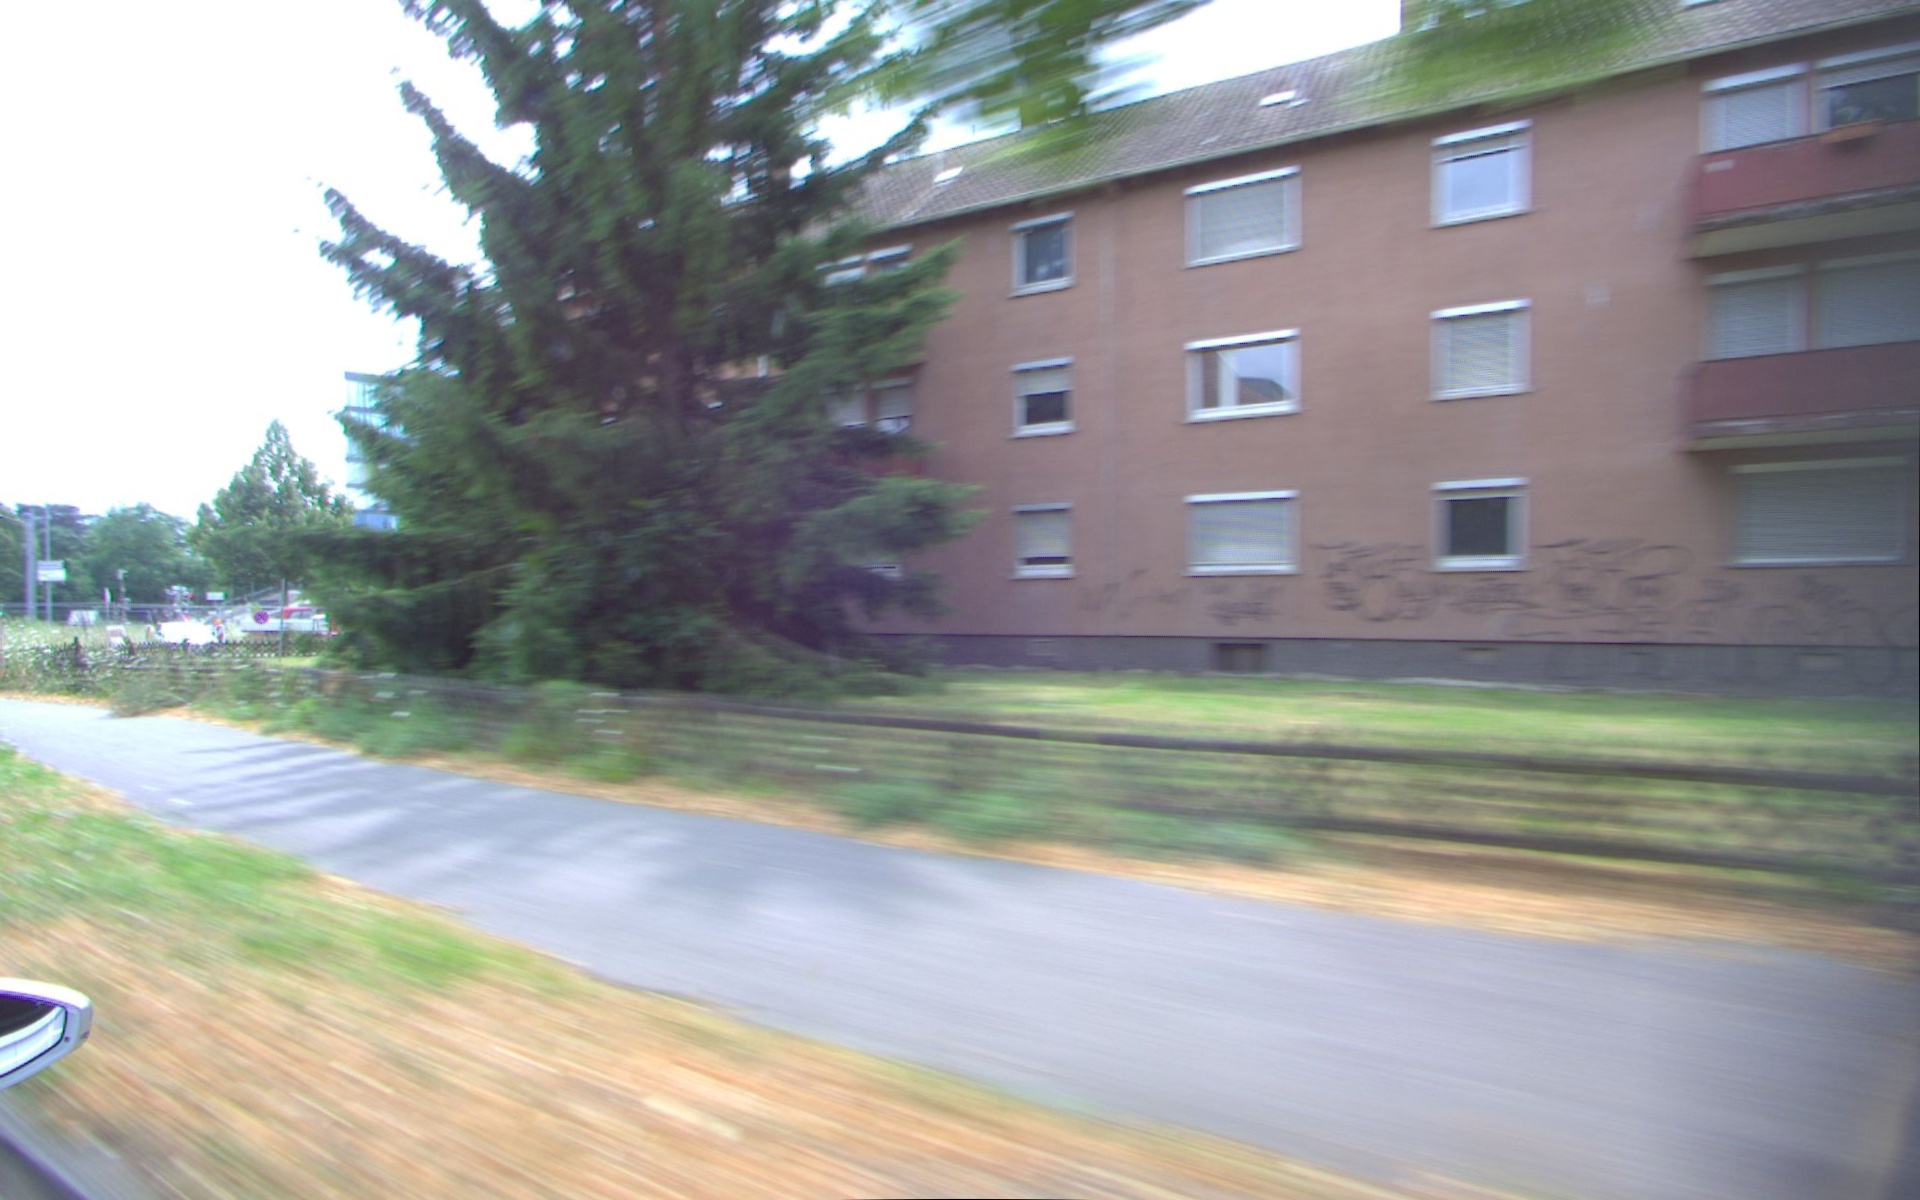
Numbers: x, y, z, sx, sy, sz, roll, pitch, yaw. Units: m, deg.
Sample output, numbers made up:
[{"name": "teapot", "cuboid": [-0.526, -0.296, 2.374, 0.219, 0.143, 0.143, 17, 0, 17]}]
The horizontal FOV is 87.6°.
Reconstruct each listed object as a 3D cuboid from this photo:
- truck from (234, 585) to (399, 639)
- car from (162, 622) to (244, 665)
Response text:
[{"name": "truck", "cuboid": [-31.061, 0.594, 48.585, 6.593, 2.458, 2.518, 1, -1, -33]}, {"name": "car", "cuboid": [-30.470, 1.704, 40.272, 4.287, 1.517, 1.841, 0, 2, 42]}]
